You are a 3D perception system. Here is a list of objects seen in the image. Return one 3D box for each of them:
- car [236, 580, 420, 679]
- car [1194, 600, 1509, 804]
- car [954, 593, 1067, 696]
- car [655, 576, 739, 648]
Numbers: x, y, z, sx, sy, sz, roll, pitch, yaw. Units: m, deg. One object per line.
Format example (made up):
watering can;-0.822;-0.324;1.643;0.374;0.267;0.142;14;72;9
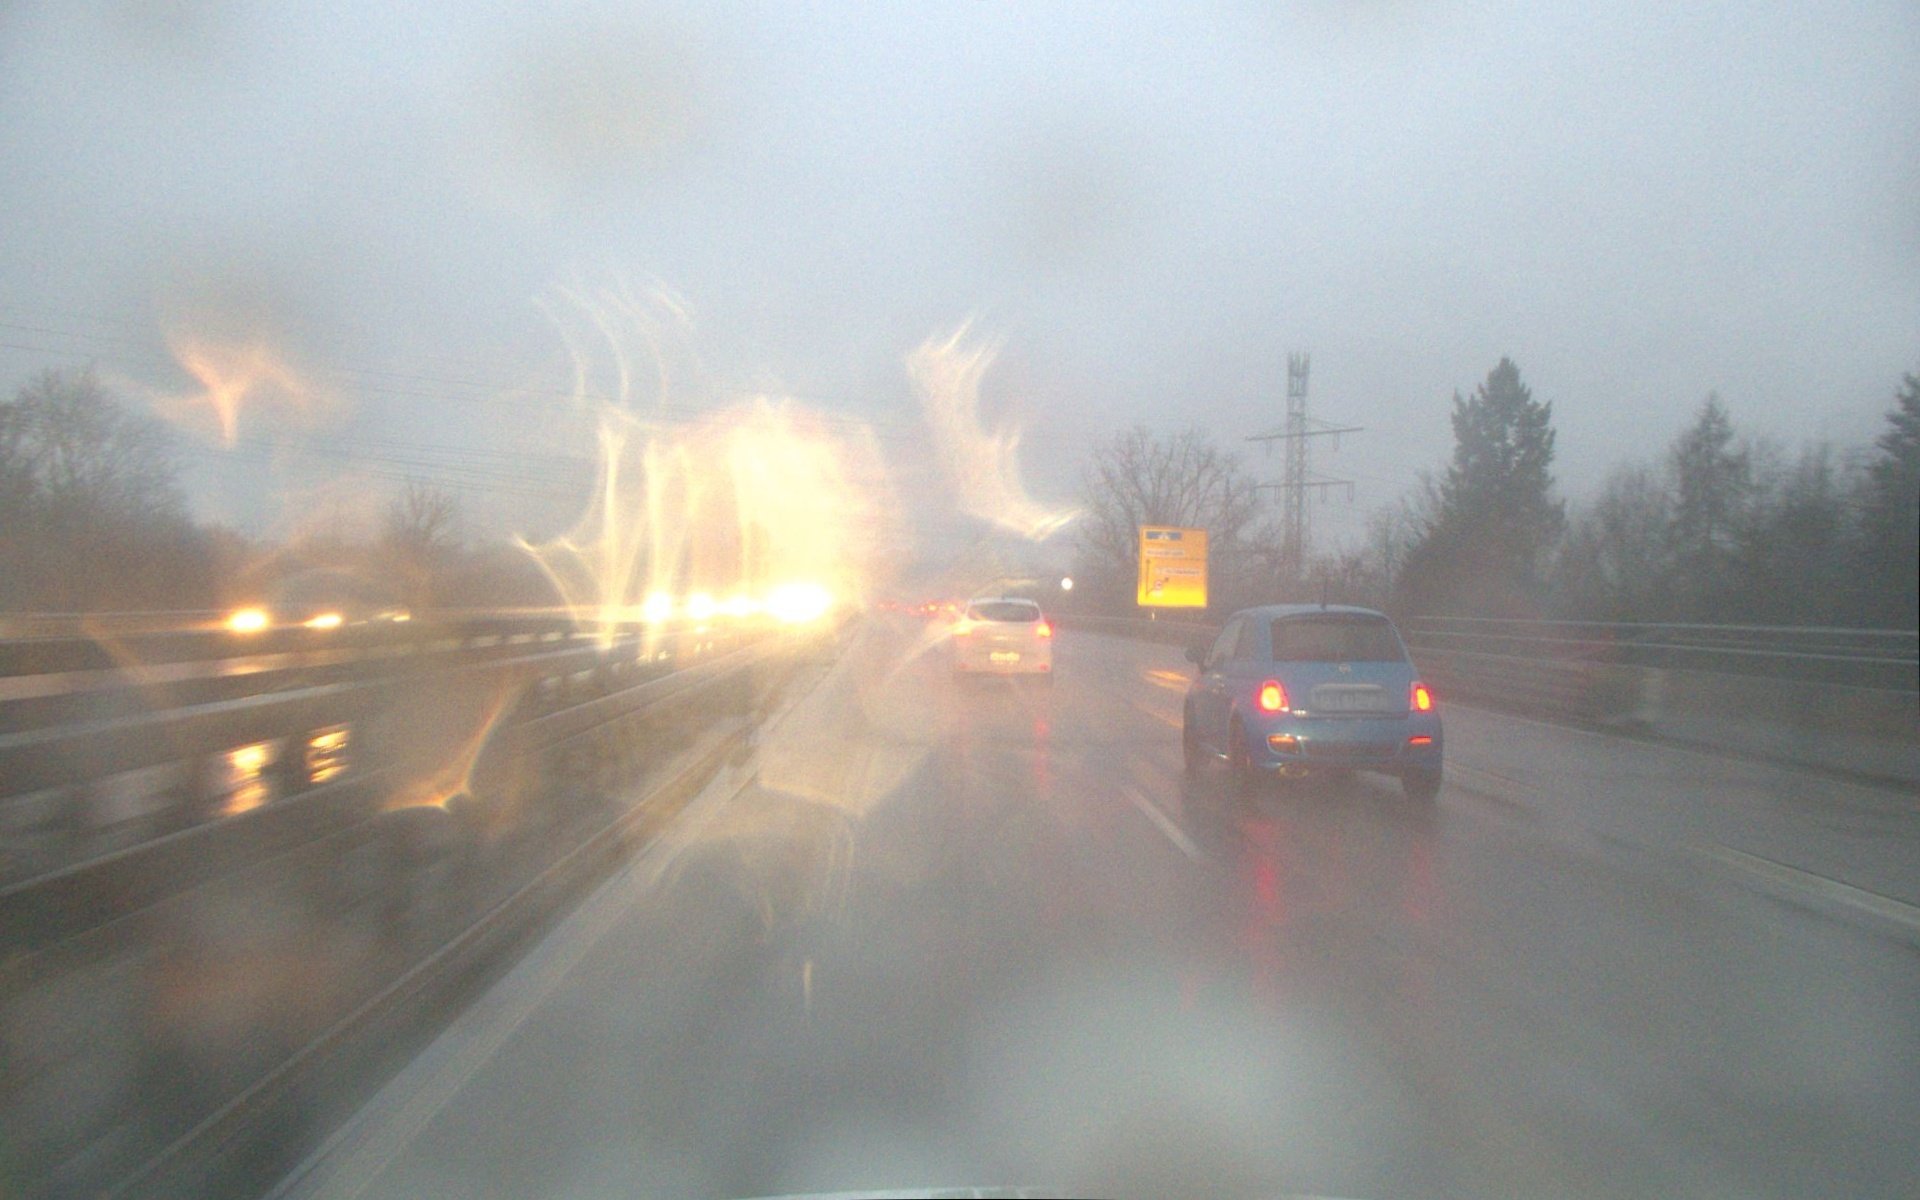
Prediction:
car;-11.787;0.493;31.180;1.798;1.665;4.544;1;1;-1
car;3.342;0.798;14.958;1.808;1.479;4.148;1;1;-1
car;0.833;0.735;29.297;1.808;1.664;3.767;1;0;-1
car;-8.383;0.329;53.177;1.953;2.173;5.198;0;1;-1
